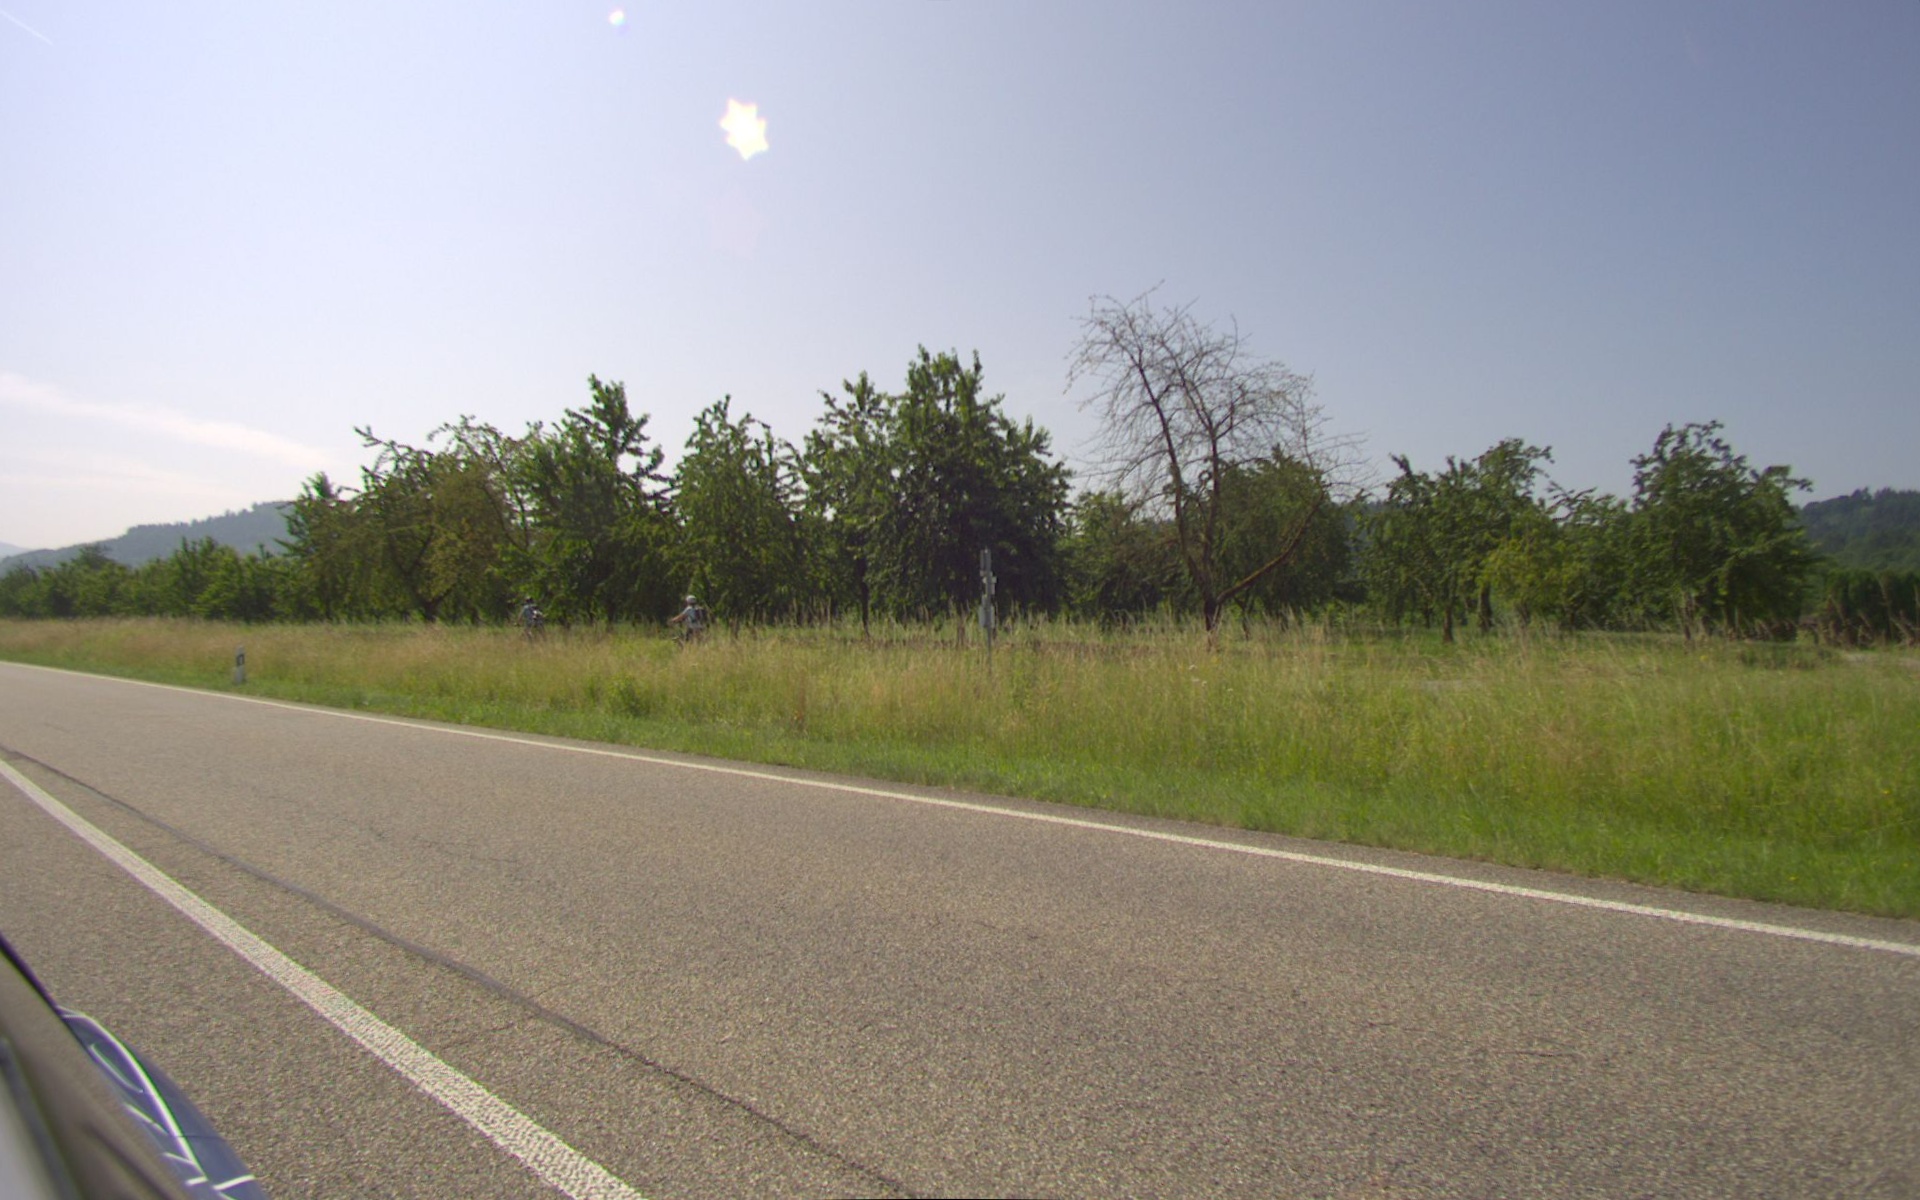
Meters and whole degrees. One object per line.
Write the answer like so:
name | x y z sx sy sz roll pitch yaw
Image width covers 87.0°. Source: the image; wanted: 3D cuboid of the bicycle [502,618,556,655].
bicycle | -12.296 1.016 28.825 1.955 0.997 0.642 0 0 42

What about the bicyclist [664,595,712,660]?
bicyclist | -6.361 0.631 23.662 0.863 1.466 0.732 0 0 42

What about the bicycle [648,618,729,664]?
bicycle | -6.357 0.942 23.659 2.224 0.997 0.732 0 0 42

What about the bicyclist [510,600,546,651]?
bicyclist | -12.300 0.723 28.828 0.863 1.425 0.635 0 0 42
